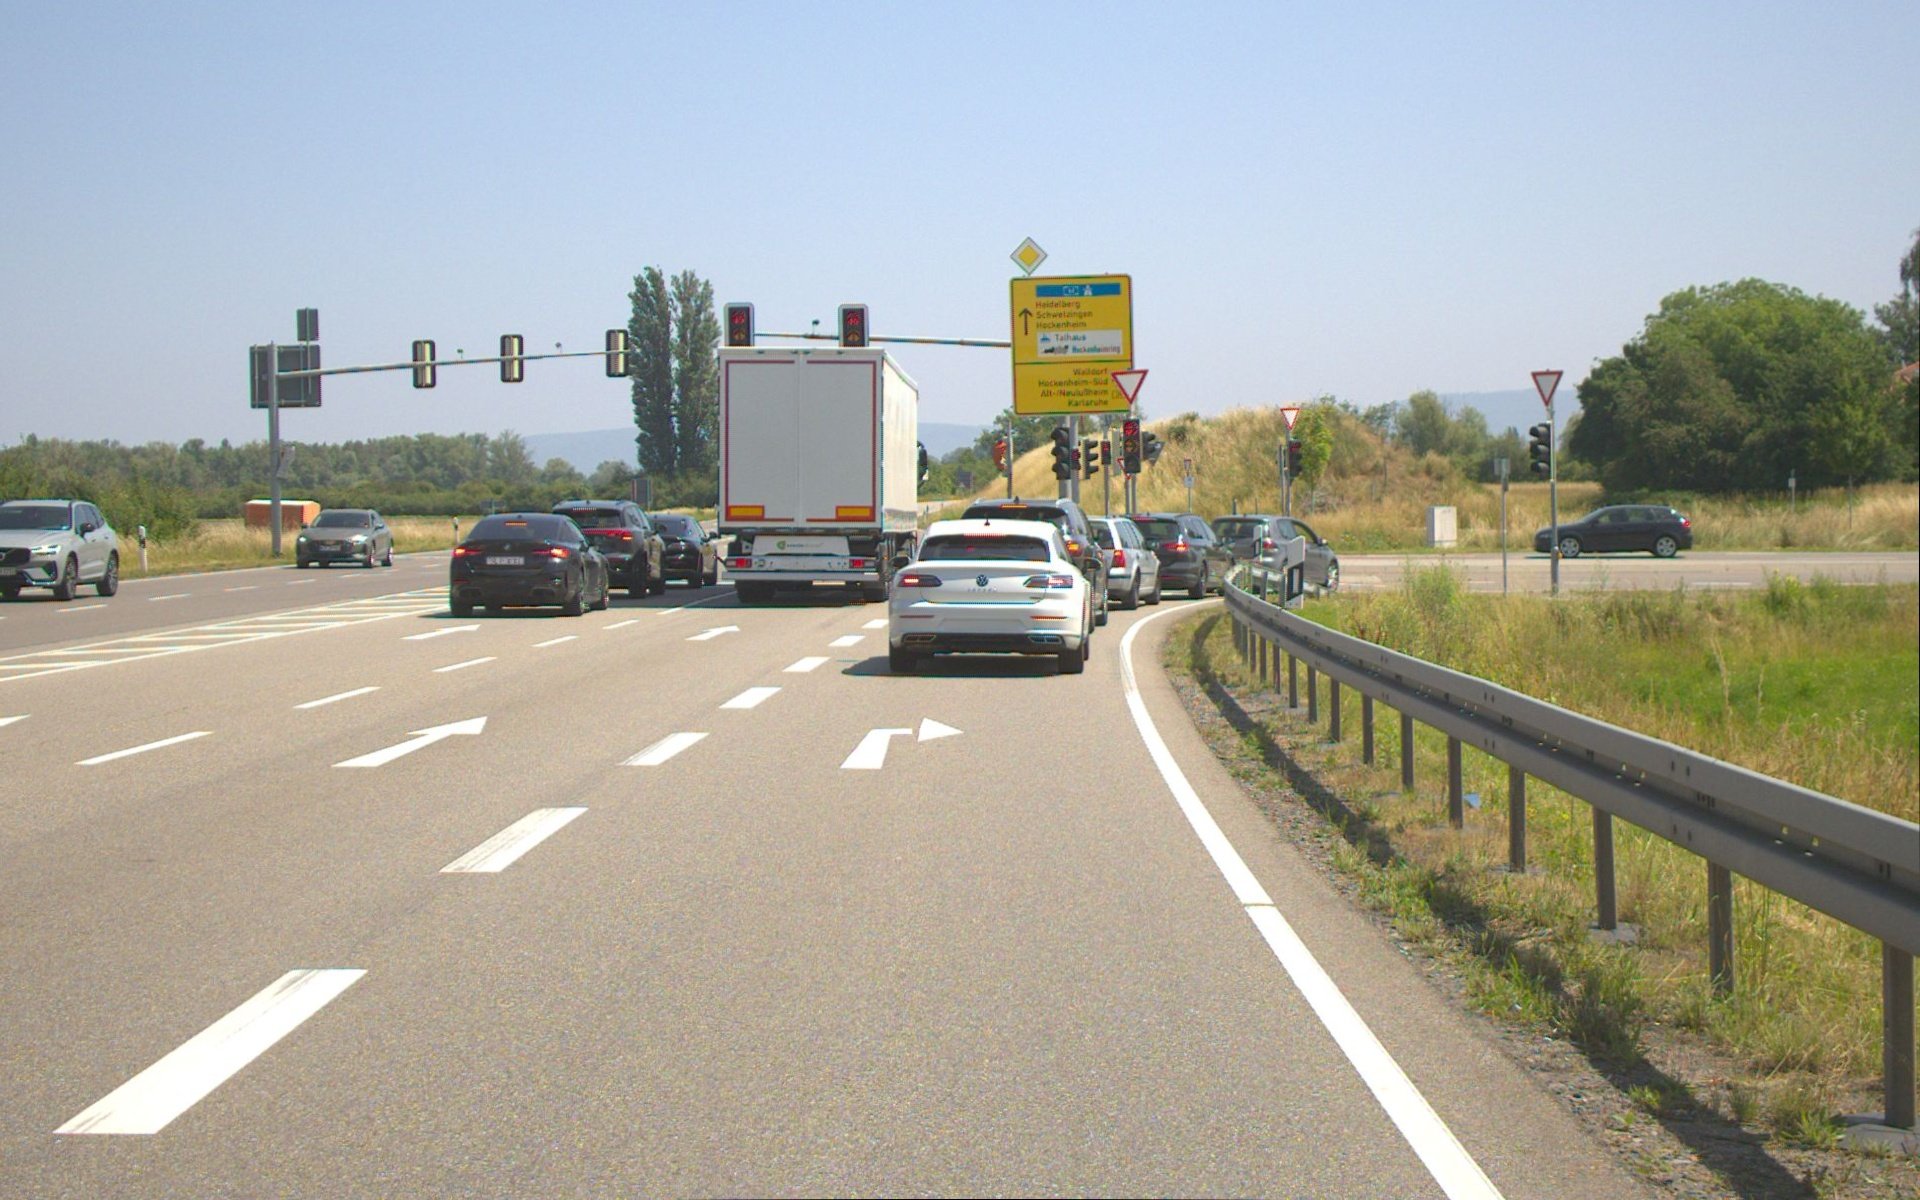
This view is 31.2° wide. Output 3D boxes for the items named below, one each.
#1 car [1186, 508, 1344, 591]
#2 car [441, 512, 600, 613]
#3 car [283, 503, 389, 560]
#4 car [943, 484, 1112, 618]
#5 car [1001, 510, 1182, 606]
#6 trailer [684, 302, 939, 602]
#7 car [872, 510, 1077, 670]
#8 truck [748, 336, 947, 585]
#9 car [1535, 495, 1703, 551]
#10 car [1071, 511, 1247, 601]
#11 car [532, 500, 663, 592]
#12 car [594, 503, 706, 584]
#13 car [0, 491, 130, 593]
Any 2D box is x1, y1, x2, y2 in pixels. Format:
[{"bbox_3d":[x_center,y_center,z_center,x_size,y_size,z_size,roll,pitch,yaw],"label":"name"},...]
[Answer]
[{"bbox_3d":[5.827,-0.977,65.349,1.802,1.516,3.877,1,1,24],"label":"car"},{"bbox_3d":[-6.324,-0.566,49.846,1.809,1.393,4.021,1,1,0],"label":"car"},{"bbox_3d":[-15.546,-1.716,85.777,1.878,1.393,4.532,0,1,-1],"label":"car"},{"bbox_3d":[0.913,-0.638,43.723,1.935,1.611,4.378,0,1,4],"label":"car"},{"bbox_3d":[2.080,-0.666,53.037,1.801,1.424,4.089,1,1,17],"label":"car"},{"bbox_3d":[-2.302,-2.430,58.822,3.381,4.527,12.872,1,2,2],"label":"trailer"},{"bbox_3d":[0.196,-0.141,33.308,1.848,1.428,4.608,0,1,2],"label":"car"},{"bbox_3d":[-2.067,-2.637,66.067,3.381,4.527,6.372,1,1,2],"label":"truck"},{"bbox_3d":[17.815,-2.082,93.056,4.261,1.364,1.776,-1,3,5],"label":"car"},{"bbox_3d":[3.429,-0.771,58.462,1.801,1.471,4.410,1,1,20],"label":"car"},{"bbox_3d":[-6.139,-0.939,58.591,1.809,1.488,4.021,1,1,0],"label":"car"},{"bbox_3d":[-5.954,-1.106,66.435,1.809,1.488,4.021,1,1,0],"label":"car"},{"bbox_3d":[-15.343,-0.986,57.215,2.027,1.634,4.570,1,1,-1],"label":"car"}]
